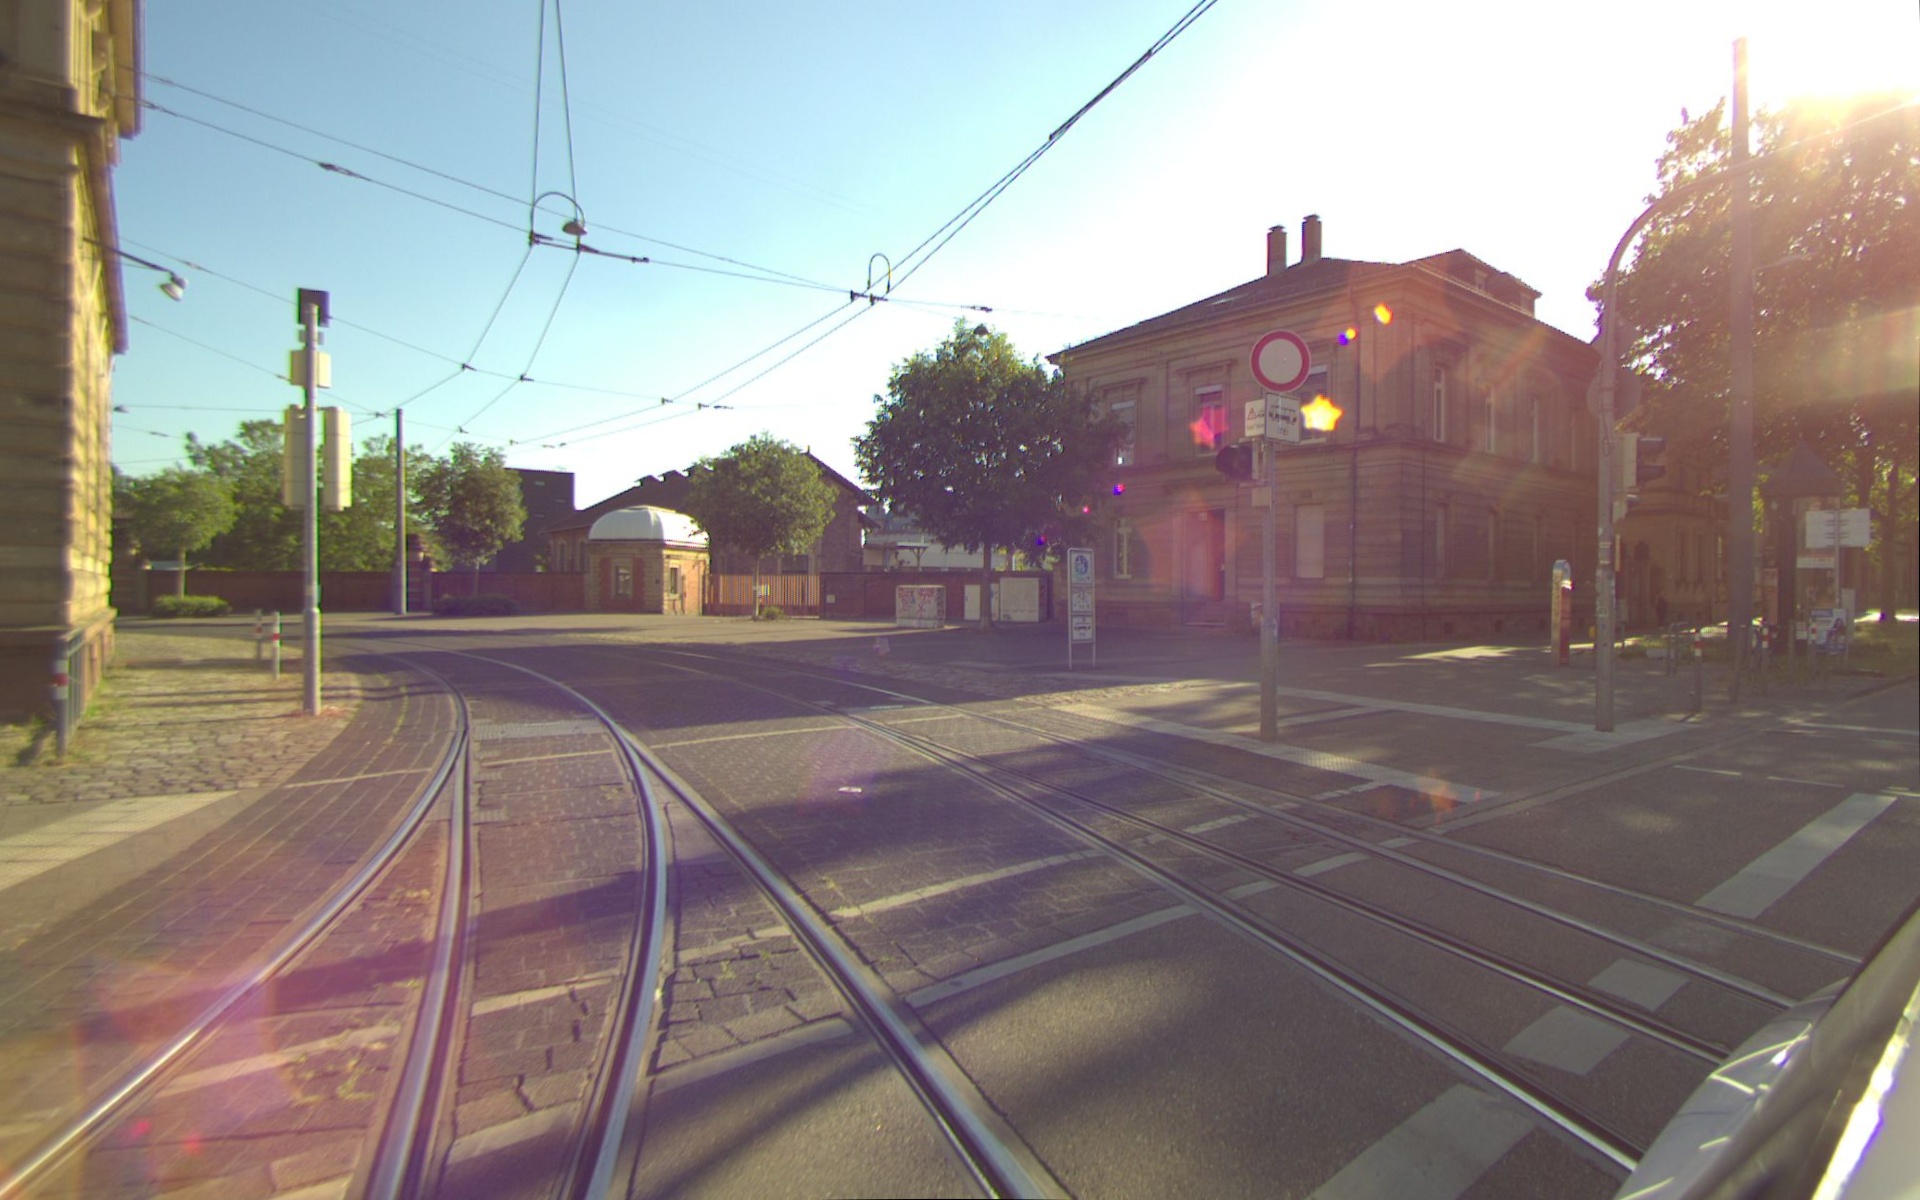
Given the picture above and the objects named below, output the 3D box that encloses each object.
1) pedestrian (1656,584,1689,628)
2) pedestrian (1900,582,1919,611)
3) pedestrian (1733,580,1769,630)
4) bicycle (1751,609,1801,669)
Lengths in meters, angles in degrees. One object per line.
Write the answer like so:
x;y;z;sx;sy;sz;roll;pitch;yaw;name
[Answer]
26.940;0.202;38.255;0.968;1.626;0.771;0;1;-38;pedestrian
55.584;-0.197;59.245;0.858;1.683;0.672;0;1;-38;pedestrian
28.259;0.167;36.147;1.023;1.731;0.771;0;1;-38;pedestrian
15.890;0.731;19.695;1.742;1.075;0.540;-1;1;-44;bicycle
